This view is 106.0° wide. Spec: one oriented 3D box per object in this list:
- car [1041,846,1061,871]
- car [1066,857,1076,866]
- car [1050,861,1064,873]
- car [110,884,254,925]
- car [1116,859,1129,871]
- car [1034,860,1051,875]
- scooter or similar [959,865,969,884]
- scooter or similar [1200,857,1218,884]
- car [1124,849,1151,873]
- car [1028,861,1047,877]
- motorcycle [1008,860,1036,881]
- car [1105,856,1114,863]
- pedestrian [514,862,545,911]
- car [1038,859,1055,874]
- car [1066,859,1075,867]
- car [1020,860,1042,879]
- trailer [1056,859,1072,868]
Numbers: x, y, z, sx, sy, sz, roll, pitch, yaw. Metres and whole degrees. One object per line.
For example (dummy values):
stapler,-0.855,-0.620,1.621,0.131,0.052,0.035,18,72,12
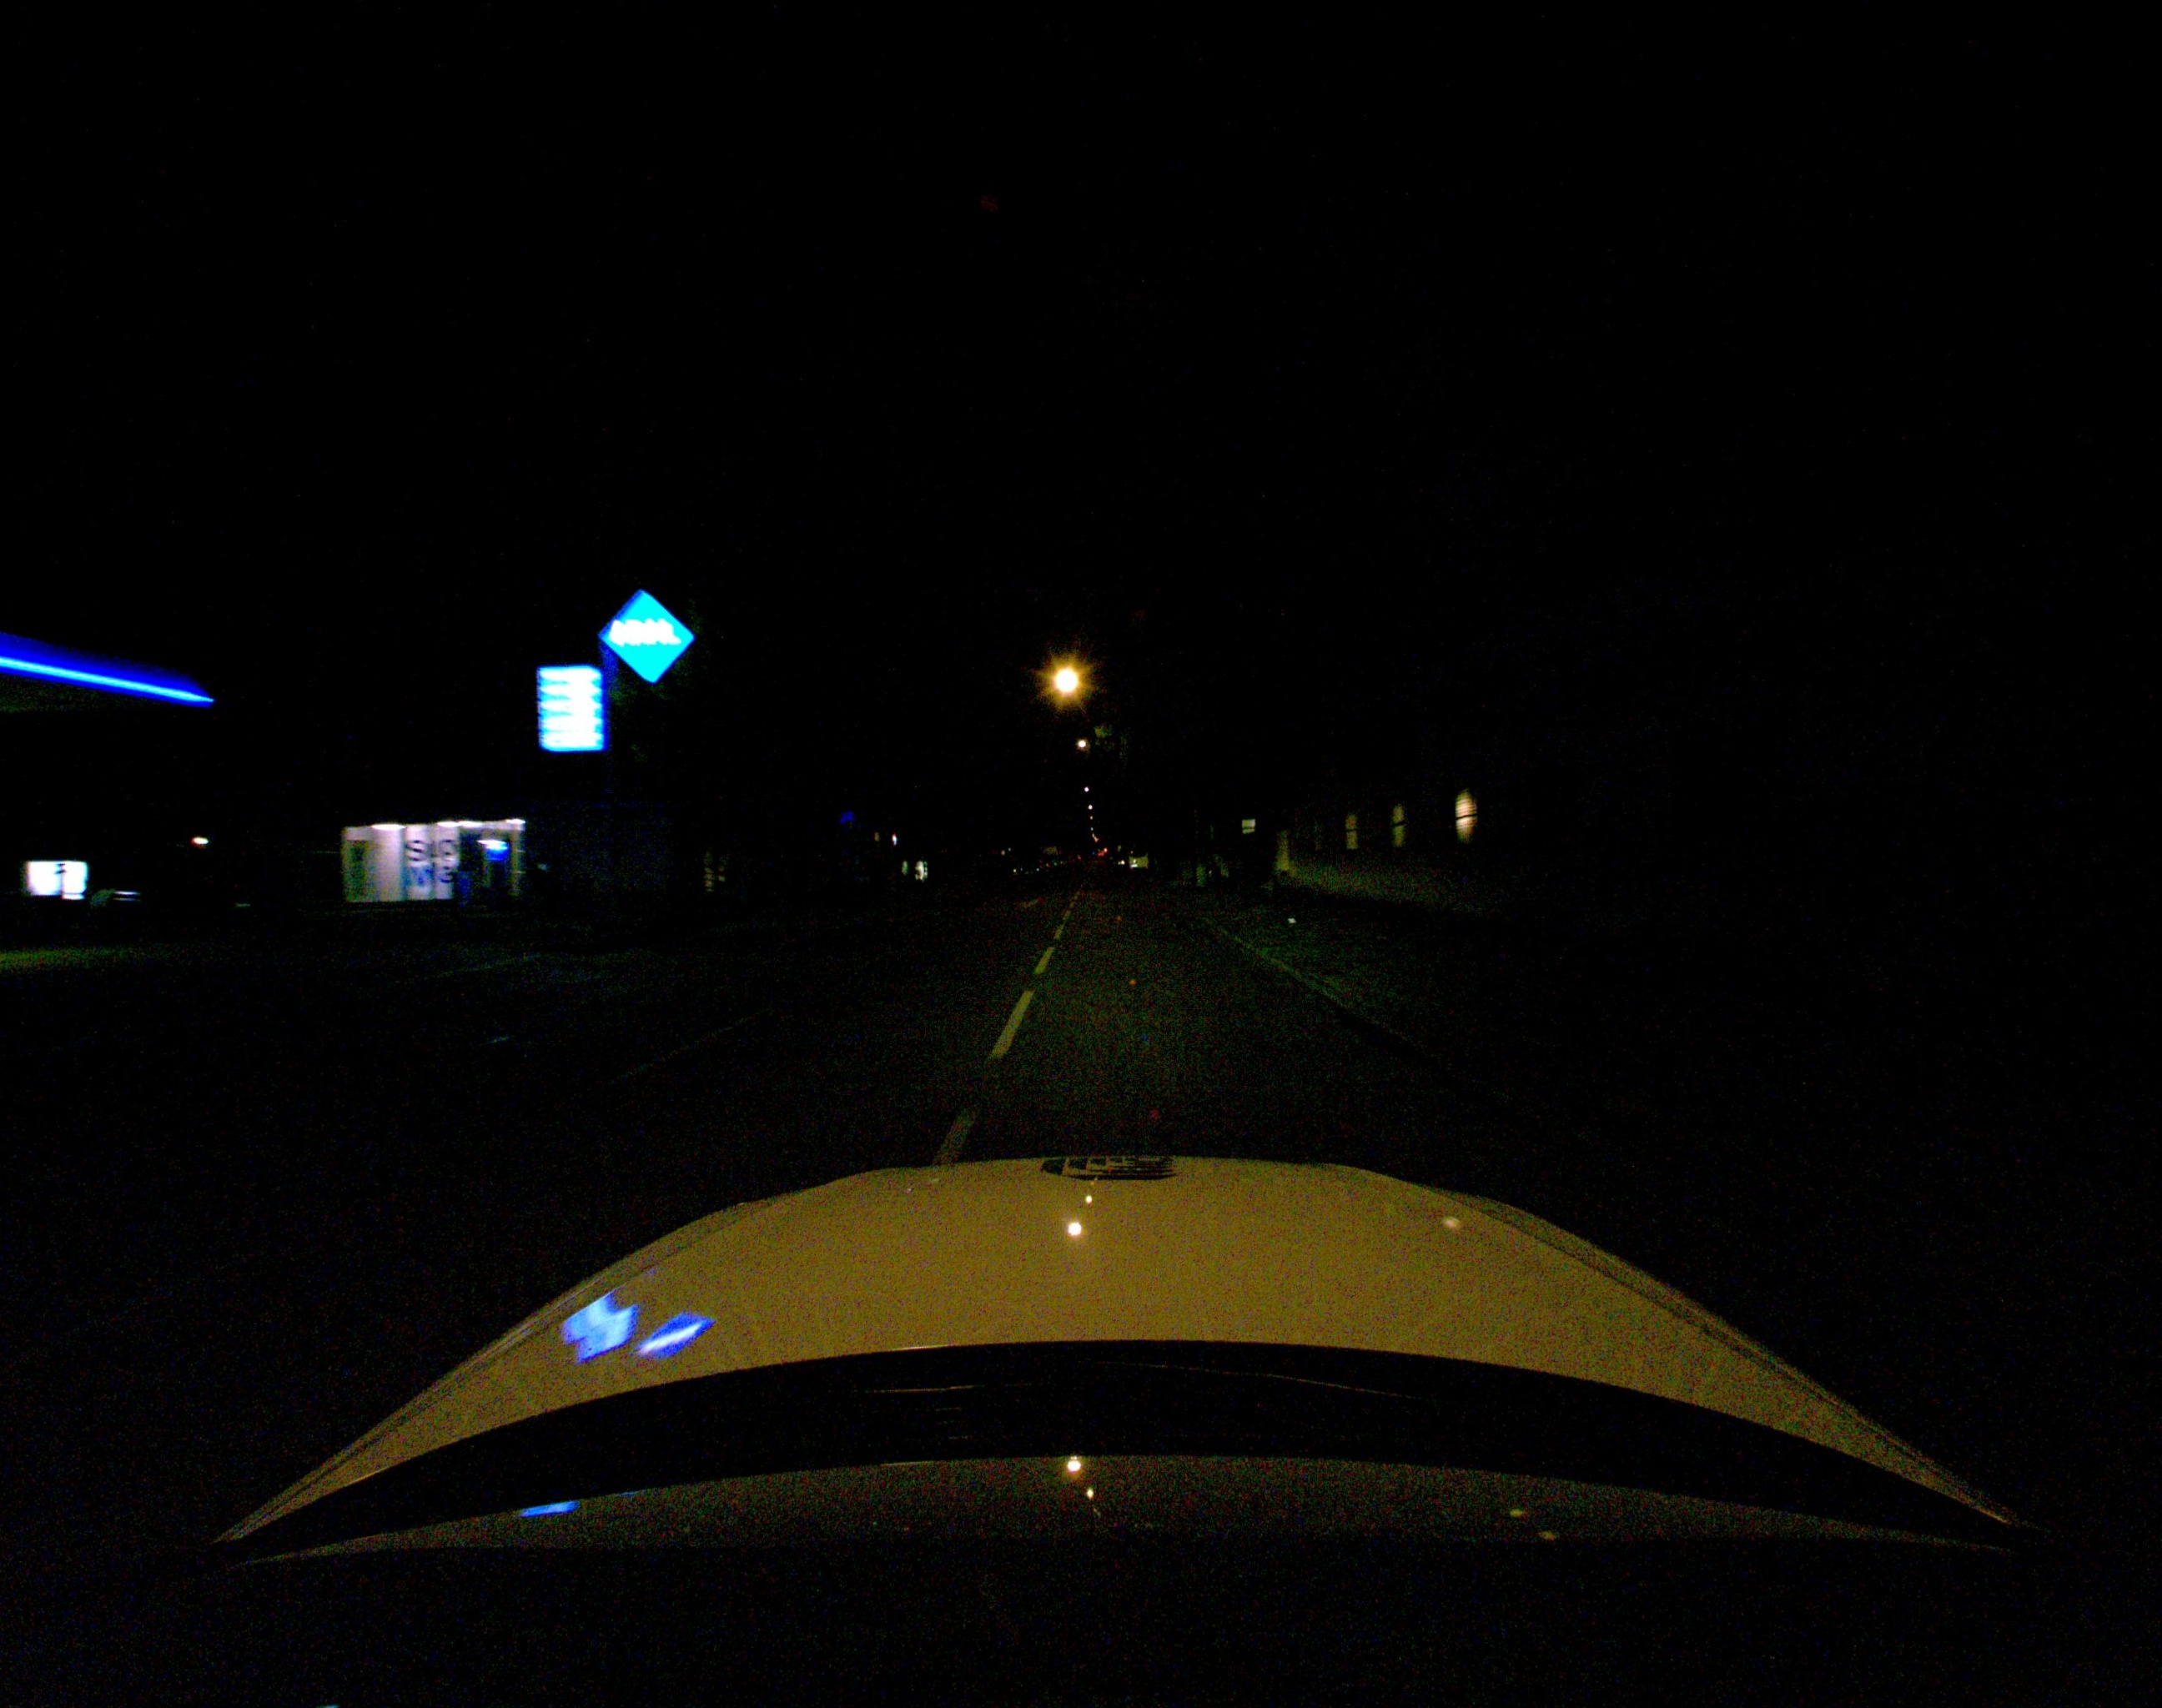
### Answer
car,-3.534,0.538,96.228,2.172,2.909,4.909,-1,0,0
car,-1.970,1.500,166.681,1.815,1.811,4.212,1,0,2
car,-3.100,1.695,107.410,1.737,1.606,4.296,-1,0,-1
car,-30.832,1.707,27.991,3.137,1.265,1.575,-1,0,0
car,5.779,1.475,112.300,1.661,1.429,4.151,-4,0,3
car,-3.720,1.322,79.379,1.542,1.455,3.368,0,0,0
scooter or similar,-7.664,1.324,53.265,0.365,1.204,1.427,-2,-1,1
scooter or similar,5.833,0.775,37.240,0.545,1.203,1.911,-1,-2,1
car,4.823,0.625,70.205,1.945,1.964,4.602,-1,0,0
car,-3.917,1.326,73.503,1.440,1.429,3.903,1,0,0
motorcycle,-4.262,1.188,58.950,1.907,1.550,0.635,0,-1,-19
car,6.439,1.214,183.007,1.846,1.654,4.210,-1,0,2
pedestrian,-18.523,1.068,27.357,0.573,1.606,0.643,-2,-1,-1
car,-3.569,1.269,84.177,1.640,1.505,3.859,-1,0,-1
car,-2.068,1.735,162.284,1.693,1.433,3.830,1,0,2
car,-4.160,1.277,68.295,1.637,1.504,3.903,0,0,0
trailer,-2.618,1.413,125.761,2.102,1.335,5.438,0,0,2
